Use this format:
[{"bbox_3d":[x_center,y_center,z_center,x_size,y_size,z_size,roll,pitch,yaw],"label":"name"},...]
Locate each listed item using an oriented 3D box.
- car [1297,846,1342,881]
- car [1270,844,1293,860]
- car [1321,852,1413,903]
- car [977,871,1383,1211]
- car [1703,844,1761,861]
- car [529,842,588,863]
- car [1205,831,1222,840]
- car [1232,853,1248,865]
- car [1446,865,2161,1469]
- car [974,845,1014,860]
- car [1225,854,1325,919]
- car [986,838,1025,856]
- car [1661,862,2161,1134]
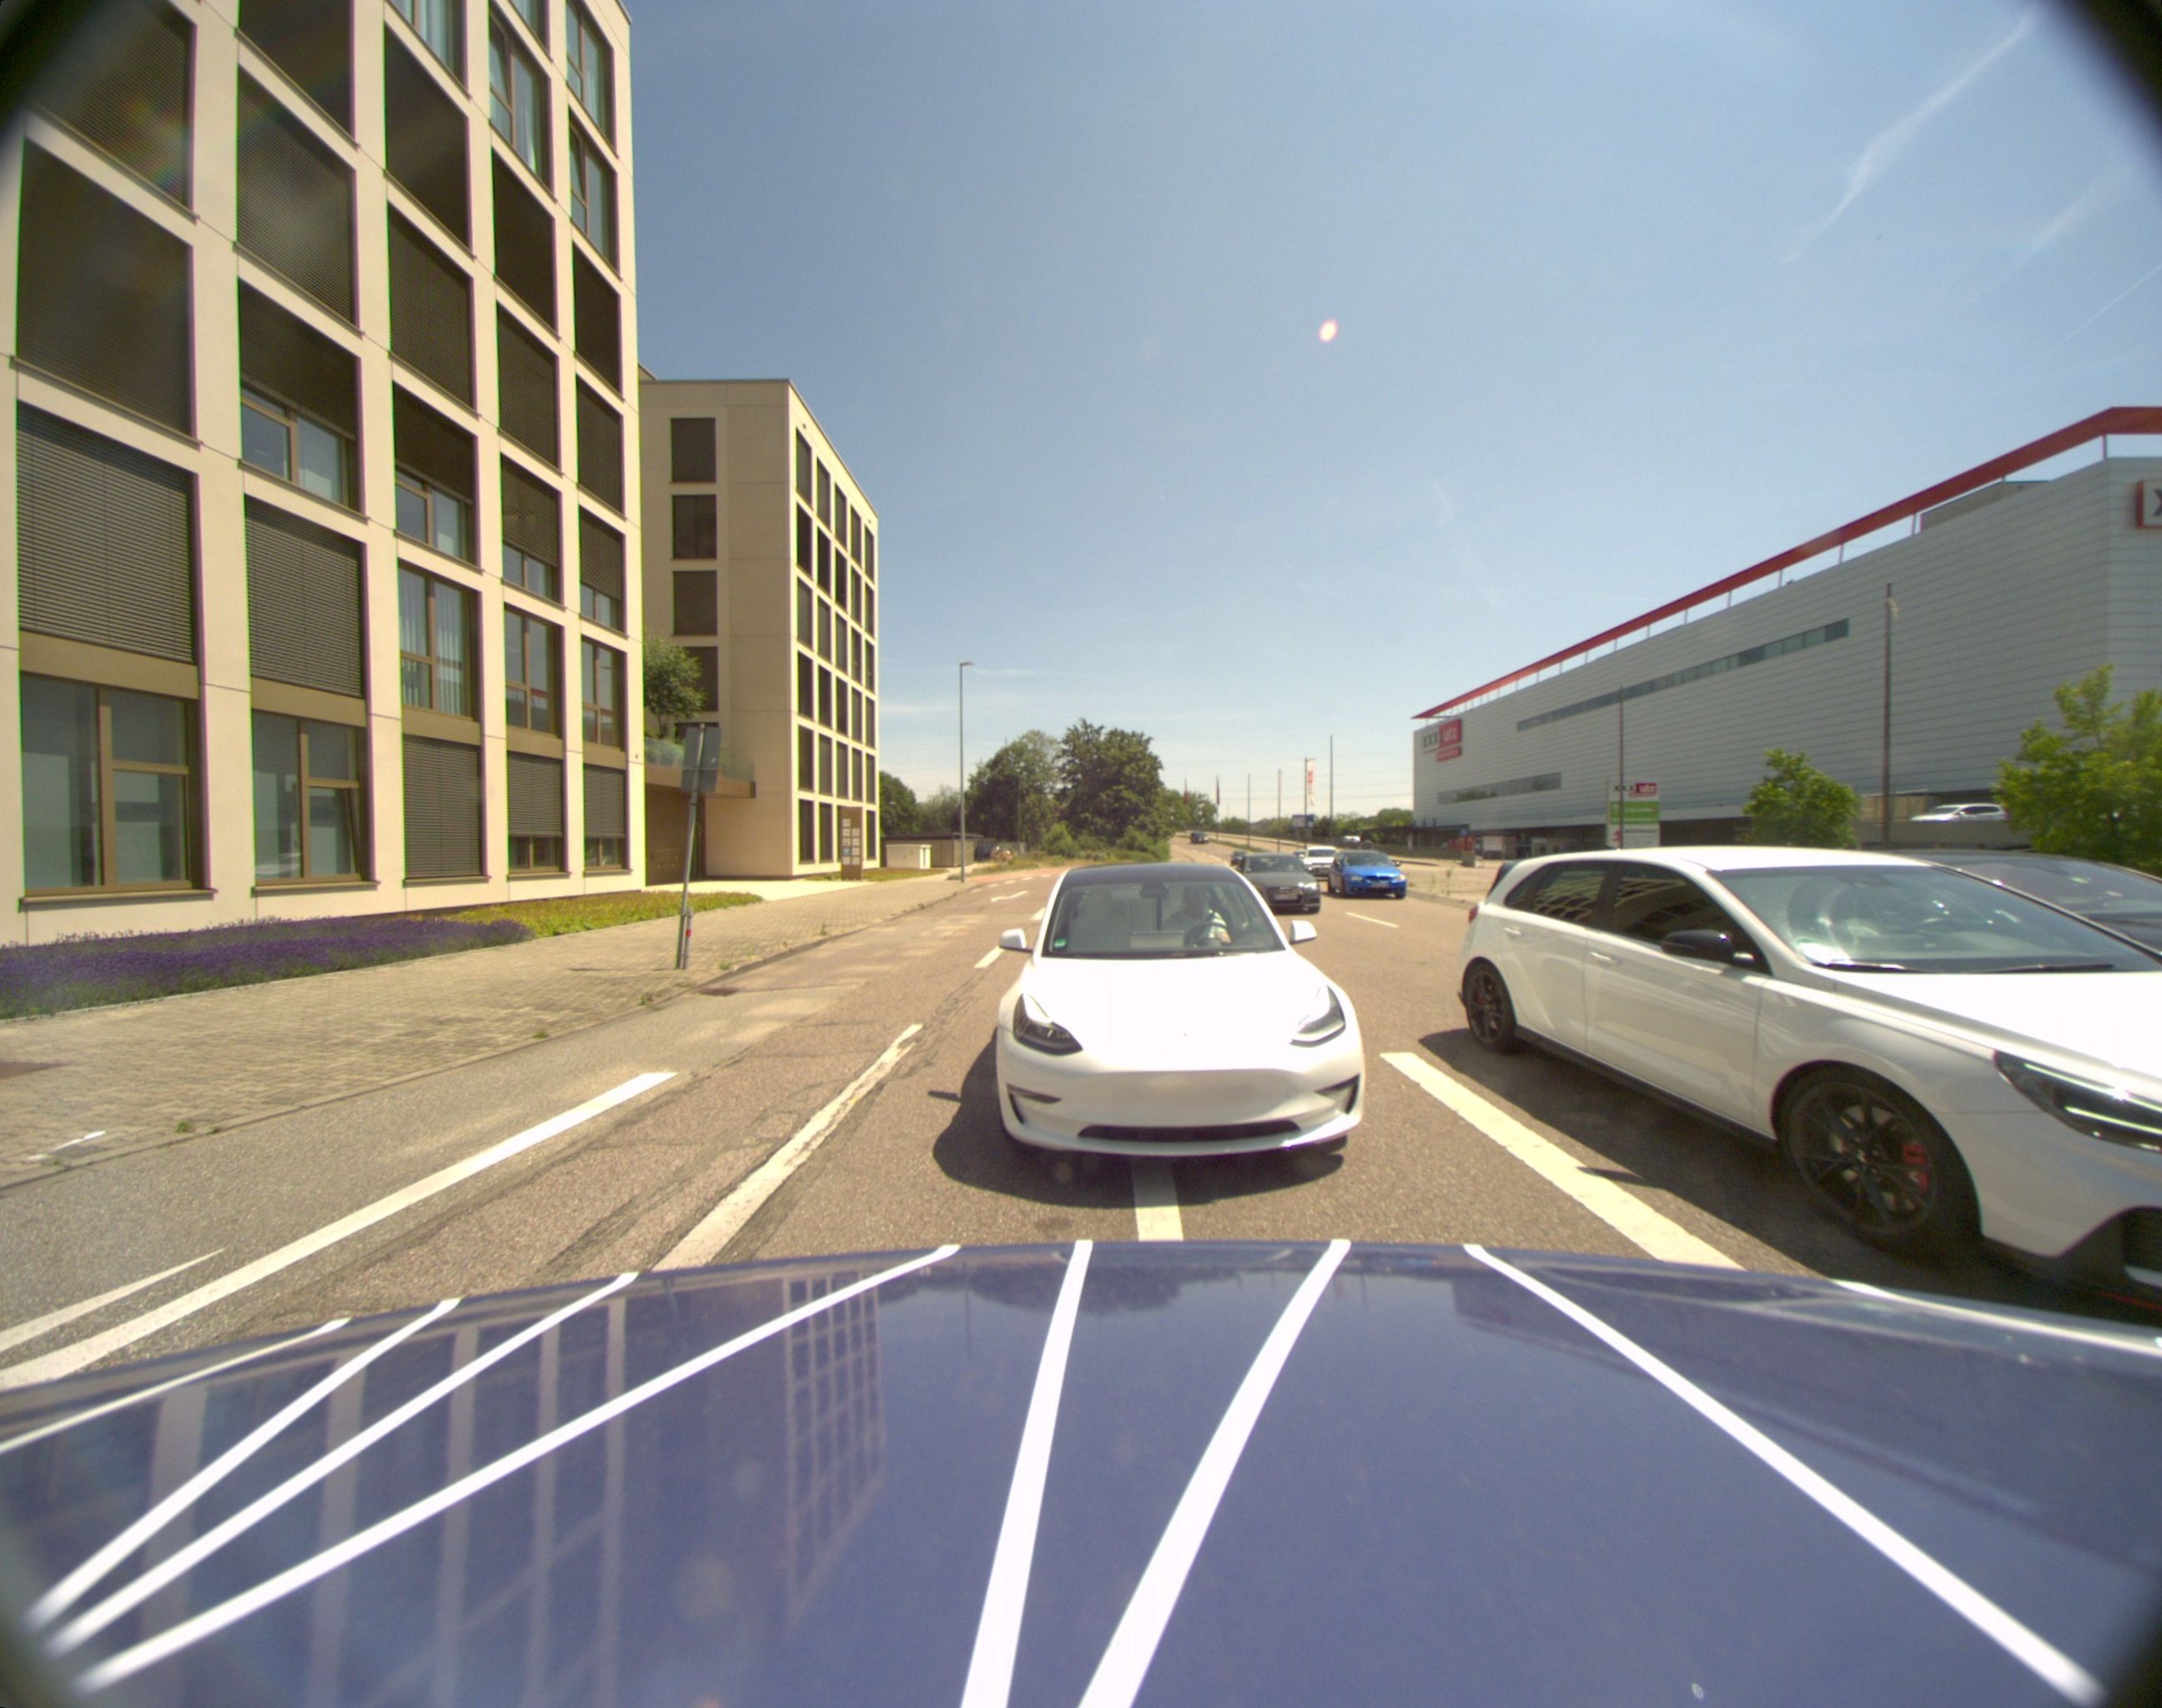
[{"bbox_3d":[11.357,0.413,36.369,1.677,1.566,4.060,-1,1,13],"label":"car"},{"bbox_3d":[21.807,-0.225,82.880,1.837,1.652,4.001,0,1,6],"label":"car"},{"bbox_3d":[8.784,0.660,23.671,1.800,1.405,4.409,0,1,9],"label":"car"},{"bbox_3d":[0.423,0.930,5.783,1.880,1.417,4.405,-2,0,-1],"label":"car"},{"bbox_3d":[61.169,-0.135,71.452,3.746,1.611,1.912,0,1,1],"label":"car"},{"bbox_3d":[-46.236,-0.165,67.339,1.997,1.841,4.003,0,1,10],"label":"car"},{"bbox_3d":[22.753,-3.241,130.886,1.999,1.347,4.364,-2,3,-3],"label":"car"},{"bbox_3d":[15.536,0.497,74.231,1.473,1.182,3.355,0,0,11],"label":"car"},{"bbox_3d":[3.637,0.828,3.667,1.735,1.441,4.230,-2,0,1],"label":"car"},{"bbox_3d":[-9.419,-0.173,82.085,4.005,1.652,1.834,0,1,-23],"label":"car"},{"bbox_3d":[4.694,0.720,18.947,1.801,1.369,4.408,-1,1,6],"label":"car"},{"bbox_3d":[-8.580,-0.781,86.091,4.005,1.942,1.996,0,1,-24],"label":"car"},{"bbox_3d":[6.708,0.789,5.459,1.752,1.382,4.534,-1,0,3],"label":"car"}]
